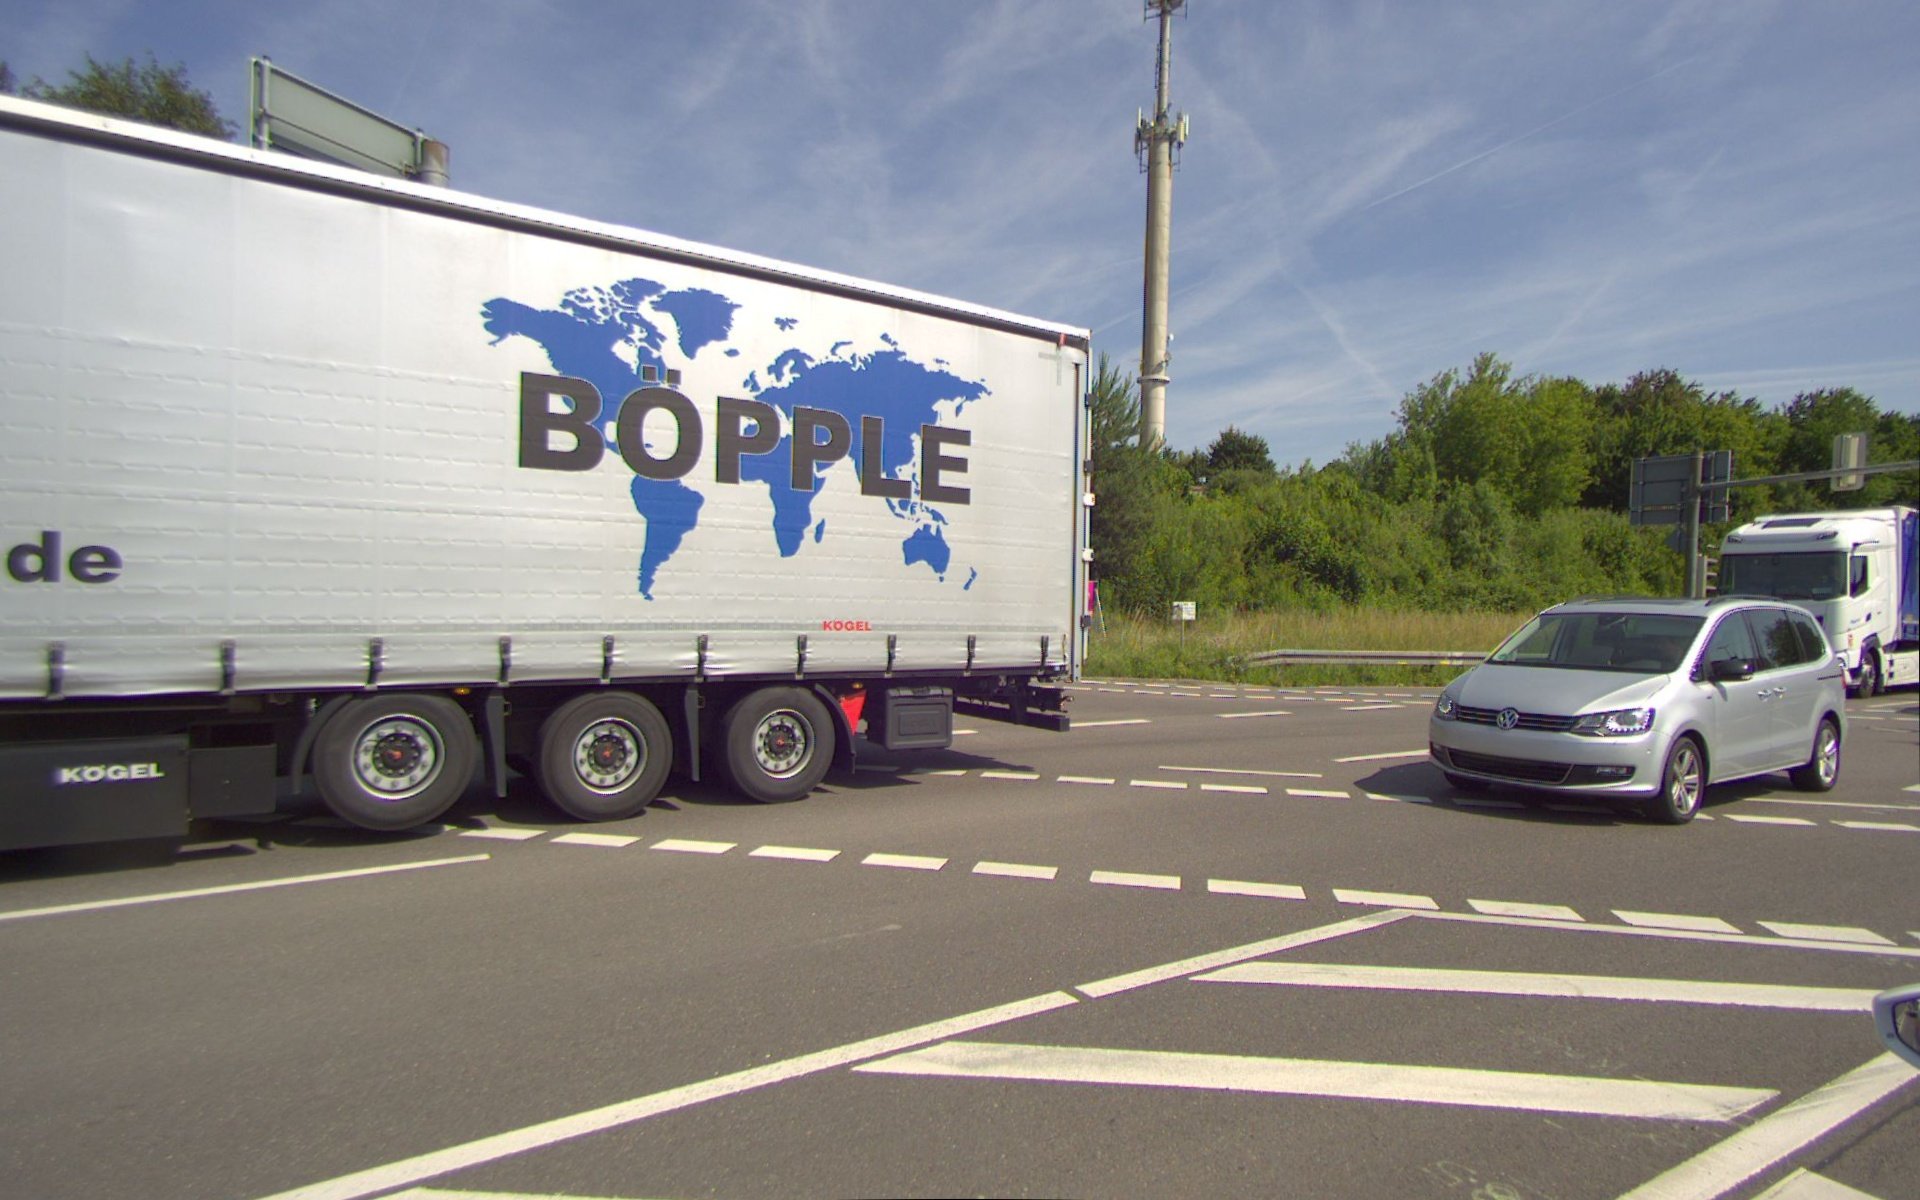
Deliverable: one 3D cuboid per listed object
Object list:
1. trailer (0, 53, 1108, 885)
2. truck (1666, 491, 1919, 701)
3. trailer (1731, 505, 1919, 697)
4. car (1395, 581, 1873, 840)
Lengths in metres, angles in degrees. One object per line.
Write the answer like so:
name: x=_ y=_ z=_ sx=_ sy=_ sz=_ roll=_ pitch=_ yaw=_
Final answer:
trailer: x=-5.122 y=-0.651 z=6.501 sx=13.731 sy=4.203 sz=2.676 roll=1 pitch=0 yaw=-33
truck: x=19.331 y=-0.017 z=22.883 sx=6.277 sy=4.134 sz=3.170 roll=1 pitch=0 yaw=-33
trailer: x=25.318 y=0.156 z=26.735 sx=13.973 sy=4.134 sz=3.076 roll=1 pitch=0 yaw=-33
car: x=6.079 y=0.765 z=8.904 sx=4.538 sy=1.756 sz=1.832 roll=1 pitch=2 yaw=-33
